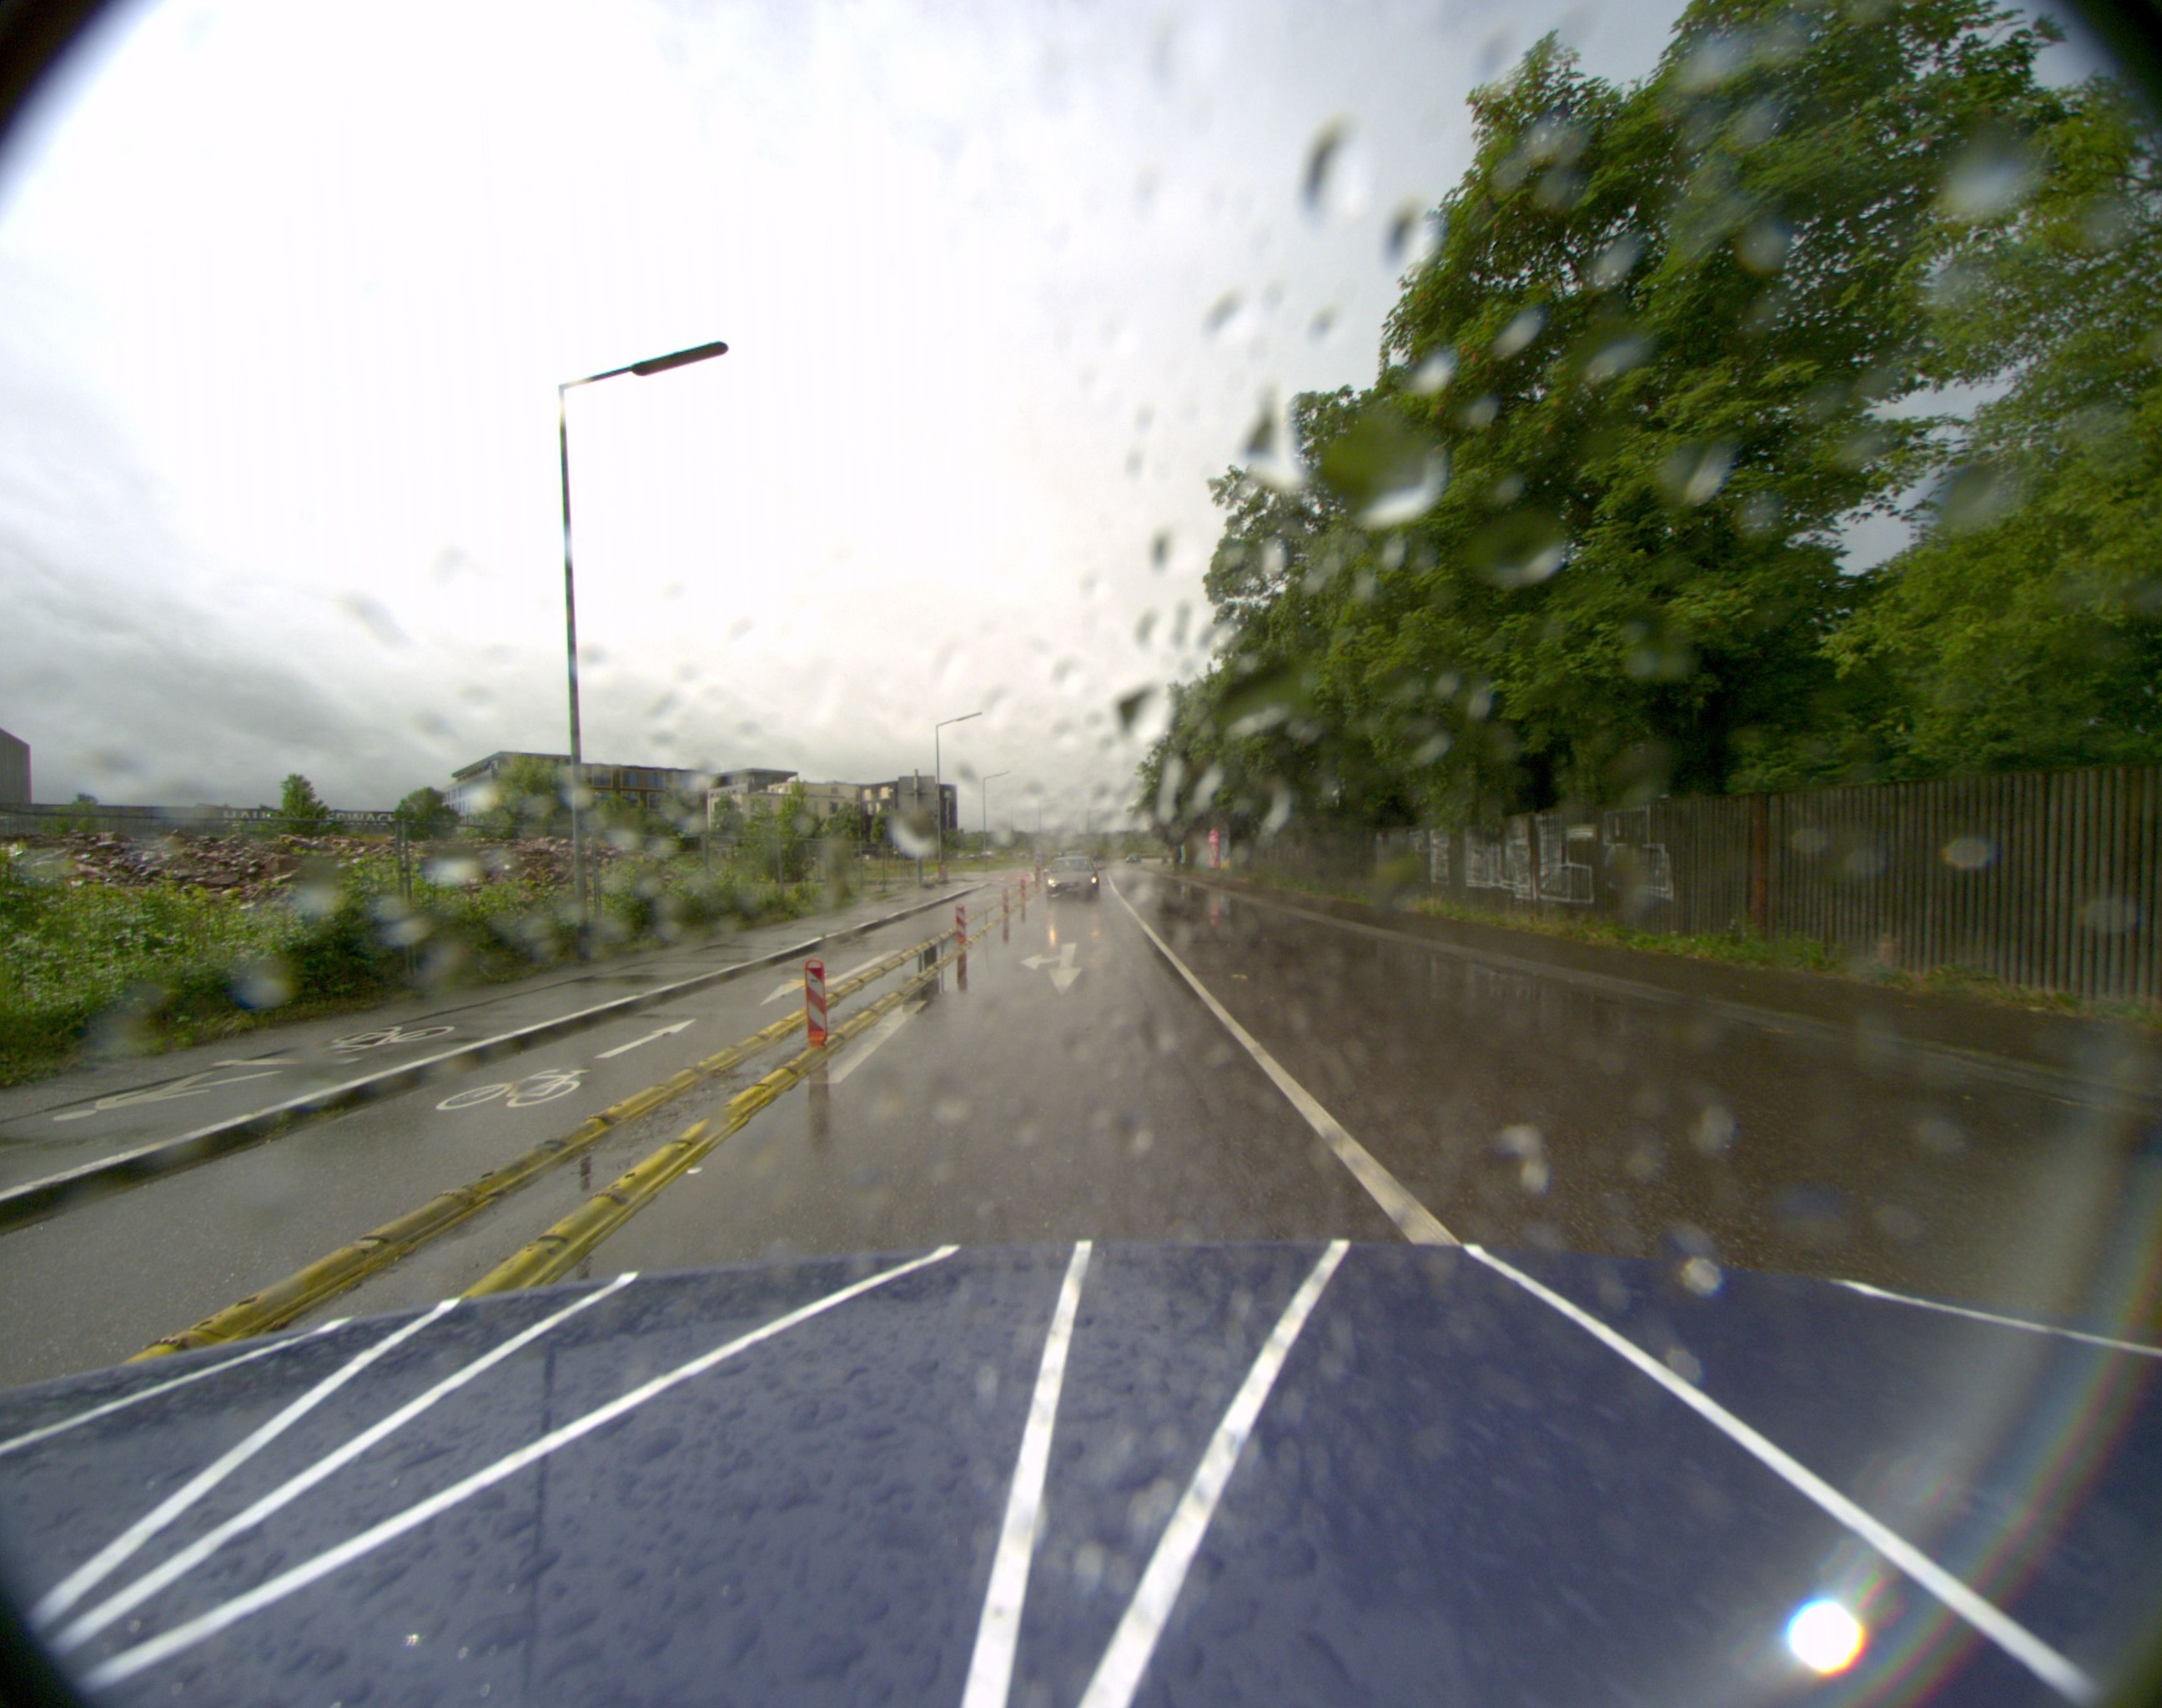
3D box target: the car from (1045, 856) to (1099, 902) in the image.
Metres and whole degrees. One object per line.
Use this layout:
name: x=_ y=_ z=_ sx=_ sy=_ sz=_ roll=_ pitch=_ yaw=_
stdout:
car: x=-0.361 y=0.822 z=26.653 sx=1.724 sy=1.423 sz=3.817 roll=-1 pitch=0 yaw=-2

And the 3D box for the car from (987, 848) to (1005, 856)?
car: x=-21.038 y=-0.528 z=187.417 sx=4.008 sy=2.002 sz=1.994 roll=-2 pitch=1 yaw=-44

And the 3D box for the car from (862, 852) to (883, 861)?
car: x=-37.002 y=0.447 z=134.695 sx=1.644 sy=1.573 sz=3.674 roll=-1 pitch=0 yaw=24

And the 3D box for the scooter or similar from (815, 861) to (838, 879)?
scooter or similar: x=-16.205 y=1.008 z=48.351 sx=1.191 sy=1.143 sz=0.748 roll=0 pitch=1 yaw=33

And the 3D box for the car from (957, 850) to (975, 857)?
car: x=-26.987 y=-0.162 z=178.303 sx=3.657 sy=1.601 sz=1.596 roll=-2 pitch=1 yaw=-40

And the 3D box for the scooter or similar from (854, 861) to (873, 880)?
scooter or similar: x=-13.542 y=1.043 z=47.316 sx=1.191 sy=1.143 sz=0.484 roll=0 pitch=1 yaw=34

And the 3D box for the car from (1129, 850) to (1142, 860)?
car: x=9.181 y=0.175 z=127.698 sx=1.795 sy=1.624 sz=3.621 roll=-1 pitch=0 yaw=11

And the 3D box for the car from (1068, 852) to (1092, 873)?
car: x=-0.088 y=0.624 z=58.397 sx=1.734 sy=1.539 sz=3.770 roll=-1 pitch=0 yaw=-1

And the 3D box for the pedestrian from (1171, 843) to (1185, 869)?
pedestrian: x=6.603 y=0.159 z=51.787 sx=0.841 sy=1.759 sz=0.644 roll=0 pitch=1 yaw=0
